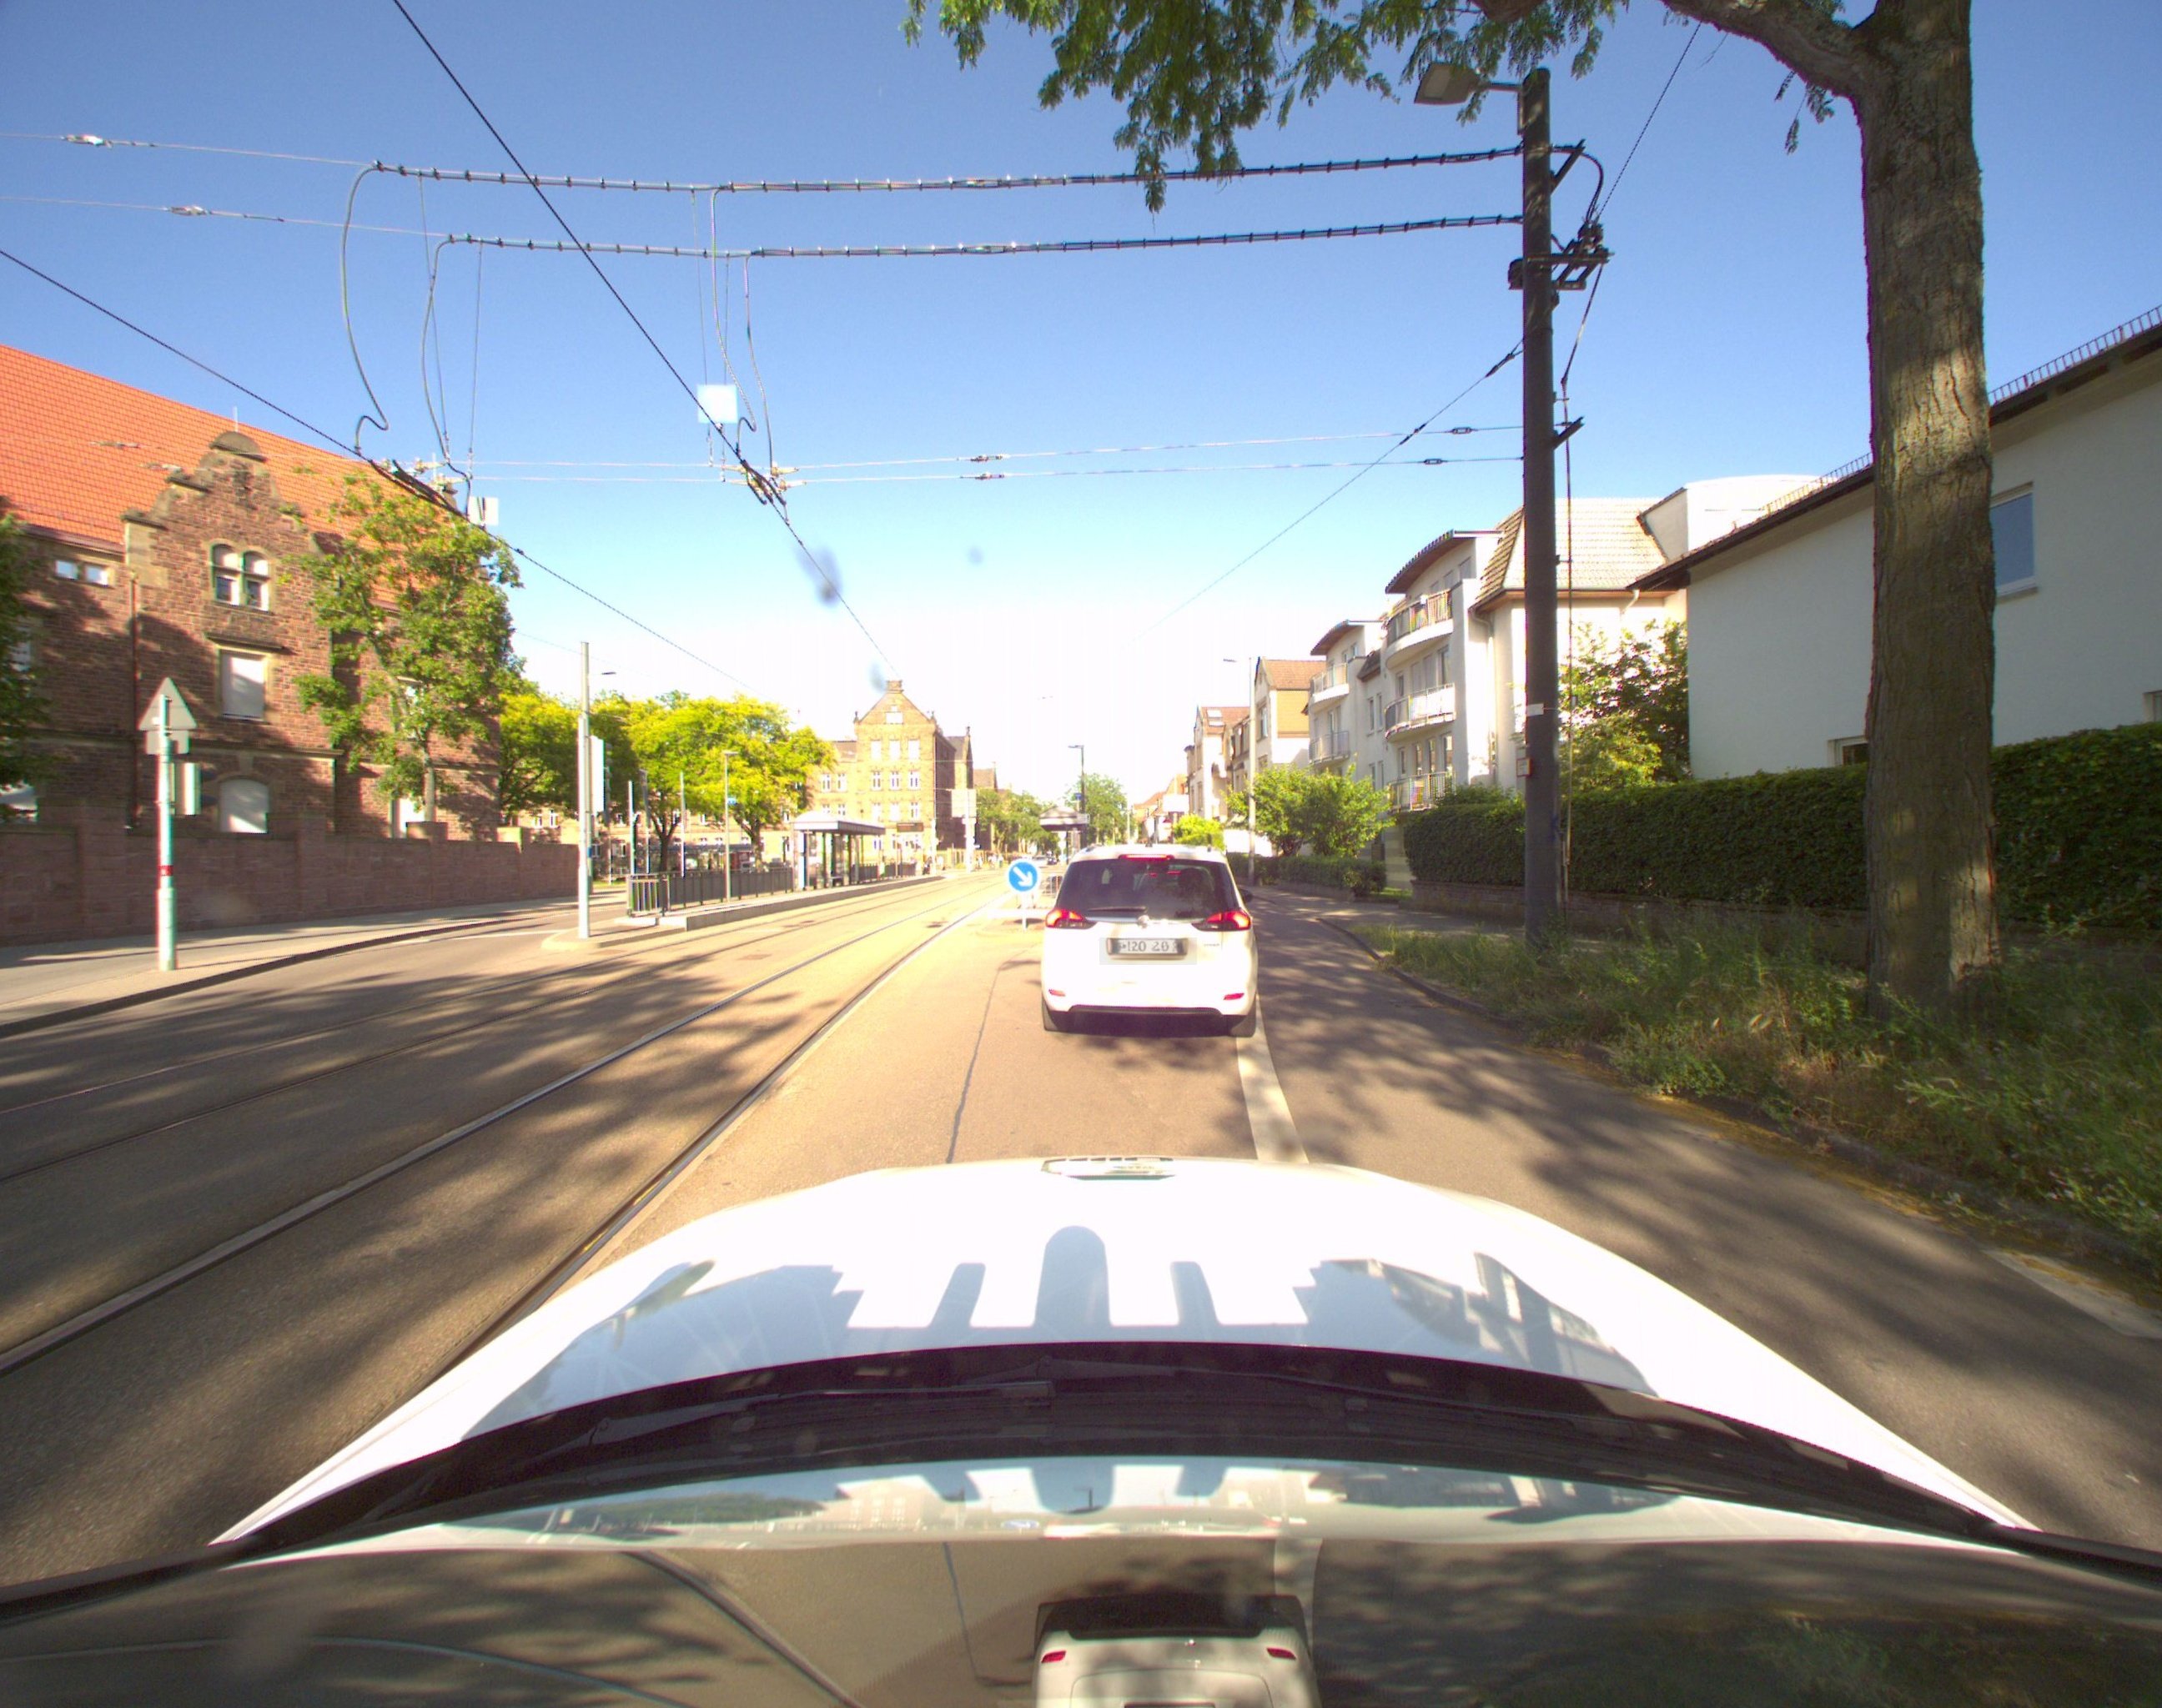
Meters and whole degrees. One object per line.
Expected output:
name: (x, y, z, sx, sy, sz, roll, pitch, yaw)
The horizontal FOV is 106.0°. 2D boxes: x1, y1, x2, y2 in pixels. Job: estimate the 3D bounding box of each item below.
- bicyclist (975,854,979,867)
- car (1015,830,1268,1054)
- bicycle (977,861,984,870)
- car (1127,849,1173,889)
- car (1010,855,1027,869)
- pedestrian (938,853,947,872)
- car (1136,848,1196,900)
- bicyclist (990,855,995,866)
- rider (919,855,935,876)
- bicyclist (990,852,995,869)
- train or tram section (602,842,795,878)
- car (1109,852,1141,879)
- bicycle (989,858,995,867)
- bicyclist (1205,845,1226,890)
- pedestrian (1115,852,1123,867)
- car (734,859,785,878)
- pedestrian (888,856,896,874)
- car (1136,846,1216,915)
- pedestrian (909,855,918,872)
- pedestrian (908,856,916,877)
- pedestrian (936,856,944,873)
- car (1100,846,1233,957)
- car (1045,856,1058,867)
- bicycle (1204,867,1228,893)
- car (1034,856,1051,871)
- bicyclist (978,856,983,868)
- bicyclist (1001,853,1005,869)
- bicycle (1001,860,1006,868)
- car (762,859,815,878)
bicyclist: (-11.817, 0.768, 92.645, 0.312, 1.444, 0.384, 0, -1, 1)
car: (0.759, 0.667, 8.177, 1.896, 1.661, 4.010, -1, 0, 9)
bicycle: (-11.851, 1.368, 96.268, 0.507, 1.077, 1.739, 0, -1, 2)
car: (2.993, 0.619, 36.175, 1.899, 1.661, 4.003, -1, 0, 3)
car: (-8.311, 1.072, 108.379, 1.740, 1.716, 4.001, 0, -1, 2)
pedestrian: (-14.556, 0.873, 85.500, 0.796, 2.014, 0.717, 0, -1, -15)
car: (2.973, 0.654, 28.331, 1.897, 1.661, 4.007, -1, 0, 6)
bicyclist: (-11.348, 0.836, 104.134, 0.529, 1.477, 0.572, 0, -1, 1)
rider: (-13.058, 0.950, 69.060, 0.793, 1.782, 2.488, 0, -1, 1)
bicyclist: (-10.795, 0.818, 99.732, 0.496, 2.014, 0.572, 0, -1, 1)
train or tram section: (-37.848, 0.588, 81.131, 17.346, 3.154, 3.344, -1, -1, -3)
car: (2.838, 0.753, 53.168, 1.901, 1.661, 4.000, -1, 0, 0)
bicycle: (-11.350, 1.097, 104.101, 0.507, 1.077, 1.739, 0, -1, 2)
bicyclist: (5.084, 0.513, 30.817, 0.673, 1.658, 0.746, -1, 0, 3)
pedestrian: (4.822, 0.746, 103.982, 0.802, 1.901, 0.747, -1, -1, 15)
car: (-29.657, 1.325, 75.199, 3.976, 1.630, 1.817, 0, -1, -2)
pedestrian: (-18.840, 1.119, 81.032, 0.768, 1.774, 0.717, 0, -1, -15)
car: (2.617, 0.640, 21.674, 1.896, 1.624, 4.010, -1, 0, 9)
pedestrian: (-18.446, 1.042, 89.669, 0.802, 1.901, 0.747, -1, -1, 16)
pedestrian: (-16.774, 1.234, 80.905, 0.795, 2.014, 1.042, 0, -1, -12)
pedestrian: (-16.582, 1.232, 95.817, 0.686, 2.014, 0.619, 0, -1, 7)
car: (1.556, 0.690, 13.853, 1.896, 1.597, 4.010, -1, 0, 9)
car: (-4.505, 1.155, 126.017, 1.740, 1.716, 4.001, 0, -1, 2)
bicycle: (5.105, 0.982, 30.860, 0.673, 0.925, 1.887, -1, 0, 3)
car: (-4.779, 1.170, 101.448, 1.740, 1.716, 4.001, 0, -1, 2)
bicyclist: (-11.864, 0.962, 96.313, 0.529, 1.477, 0.572, 0, -1, 1)
bicyclist: (-9.970, 0.851, 104.503, 0.486, 2.014, 0.502, 0, -1, 1)
bicycle: (-9.961, 1.297, 104.466, 0.485, 0.971, 1.406, 0, -1, 2)
car: (-25.450, 1.248, 70.956, 3.976, 1.630, 1.817, 0, -1, -2)
